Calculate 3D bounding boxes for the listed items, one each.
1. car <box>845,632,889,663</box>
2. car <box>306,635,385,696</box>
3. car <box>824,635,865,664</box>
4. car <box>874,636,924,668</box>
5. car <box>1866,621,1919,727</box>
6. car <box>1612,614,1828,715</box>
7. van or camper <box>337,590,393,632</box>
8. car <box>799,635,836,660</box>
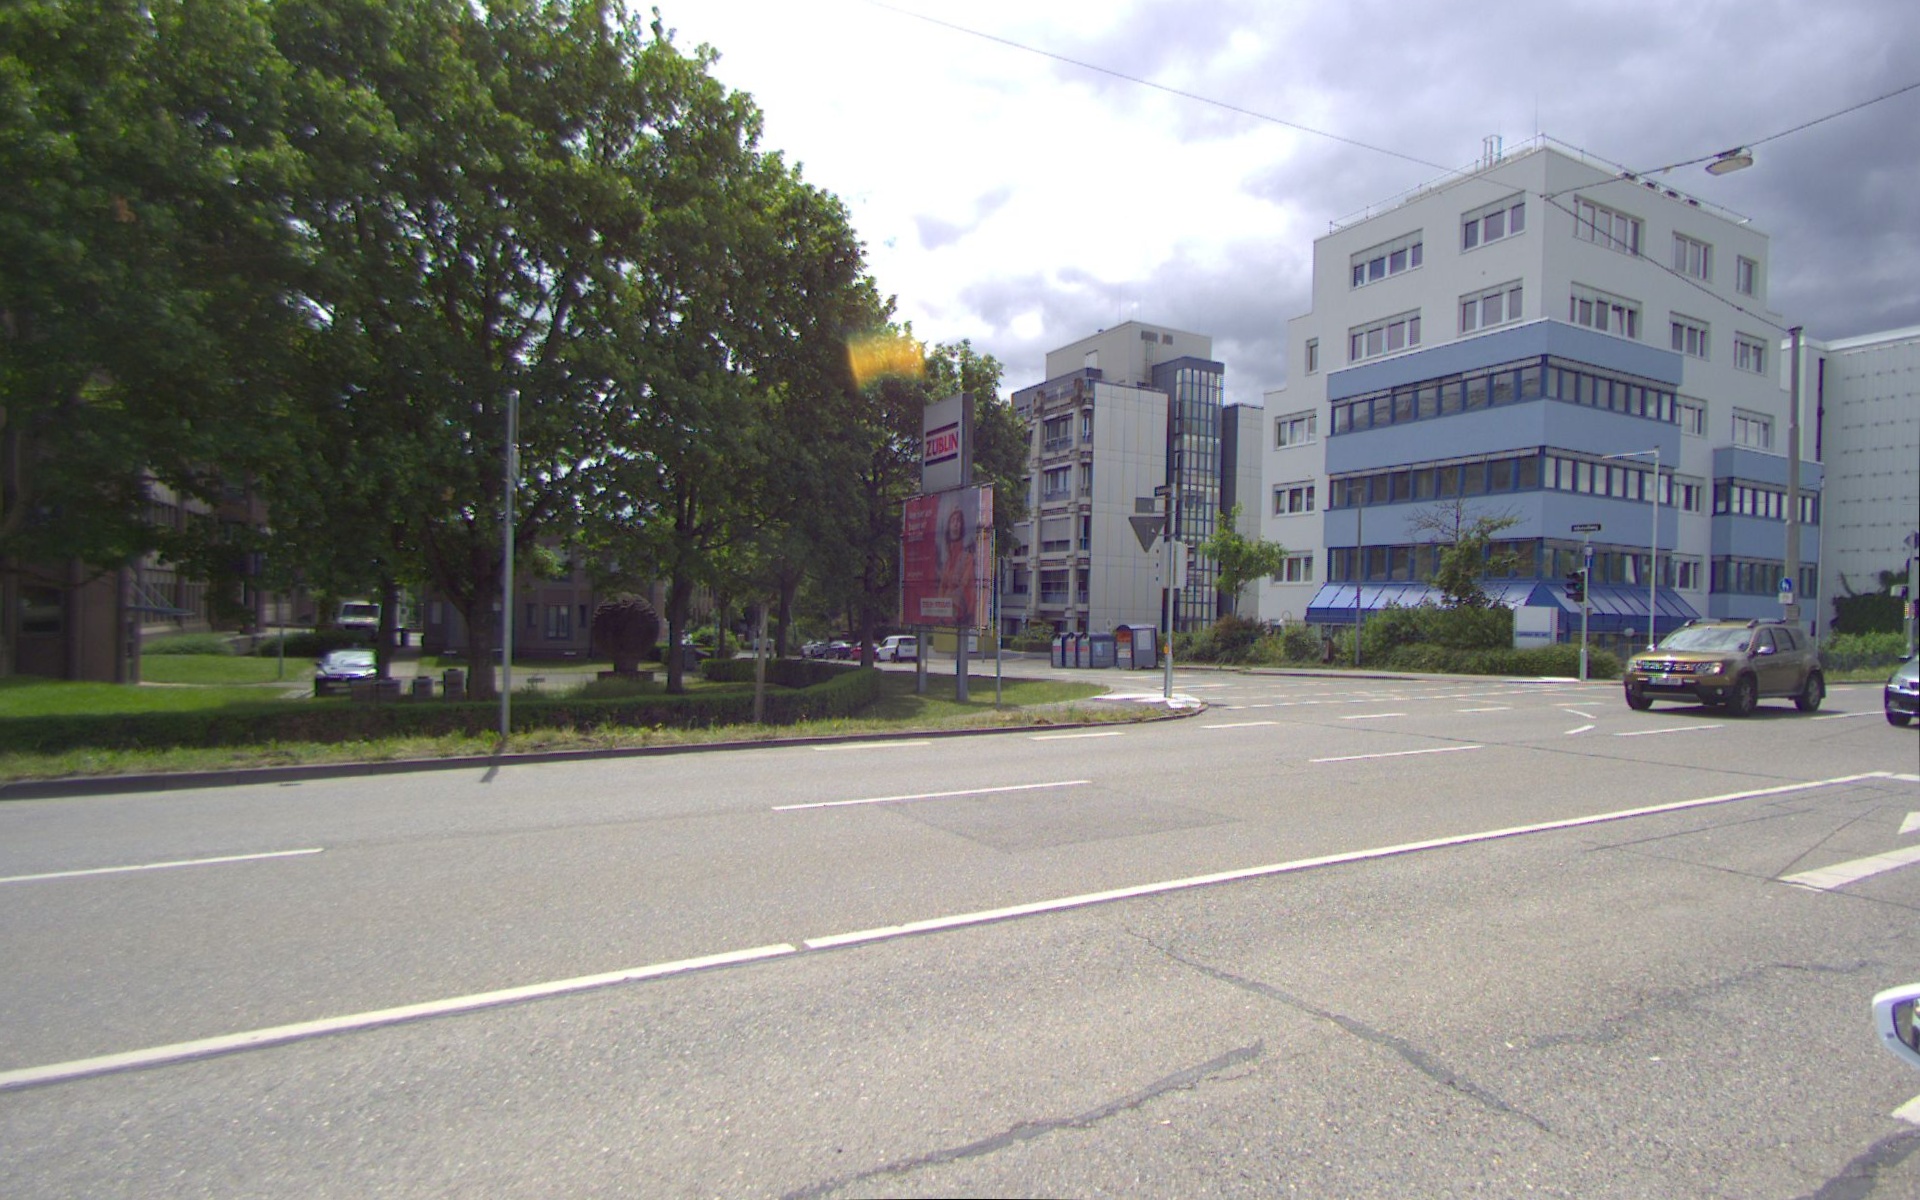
[{"bbox_3d":[-6.746,3.437,72.850,1.868,2.040,3.974,2,-1,-26],"label":"car"},{"bbox_3d":[-19.285,2.022,31.666,1.764,1.750,3.972,2,-2,-27],"label":"car"},{"bbox_3d":[-8.958,3.807,77.663,1.848,2.040,3.973,2,-1,-26],"label":"car"},{"bbox_3d":[-4.138,3.470,67.779,1.974,2.006,3.974,2,-1,-26],"label":"car"},{"bbox_3d":[16.026,1.113,15.711,3.961,1.545,1.661,0,-1,-30],"label":"car"},{"bbox_3d":[13.779,1.133,18.175,3.953,1.652,1.743,2,-2,-30],"label":"car"},{"bbox_3d":[-32.637,0.563,55.025,2.334,2.132,5.157,2,-1,-33],"label":"van or camper"},{"bbox_3d":[-11.784,3.894,82.797,1.875,1.919,3.973,2,-1,-26],"label":"car"}]
